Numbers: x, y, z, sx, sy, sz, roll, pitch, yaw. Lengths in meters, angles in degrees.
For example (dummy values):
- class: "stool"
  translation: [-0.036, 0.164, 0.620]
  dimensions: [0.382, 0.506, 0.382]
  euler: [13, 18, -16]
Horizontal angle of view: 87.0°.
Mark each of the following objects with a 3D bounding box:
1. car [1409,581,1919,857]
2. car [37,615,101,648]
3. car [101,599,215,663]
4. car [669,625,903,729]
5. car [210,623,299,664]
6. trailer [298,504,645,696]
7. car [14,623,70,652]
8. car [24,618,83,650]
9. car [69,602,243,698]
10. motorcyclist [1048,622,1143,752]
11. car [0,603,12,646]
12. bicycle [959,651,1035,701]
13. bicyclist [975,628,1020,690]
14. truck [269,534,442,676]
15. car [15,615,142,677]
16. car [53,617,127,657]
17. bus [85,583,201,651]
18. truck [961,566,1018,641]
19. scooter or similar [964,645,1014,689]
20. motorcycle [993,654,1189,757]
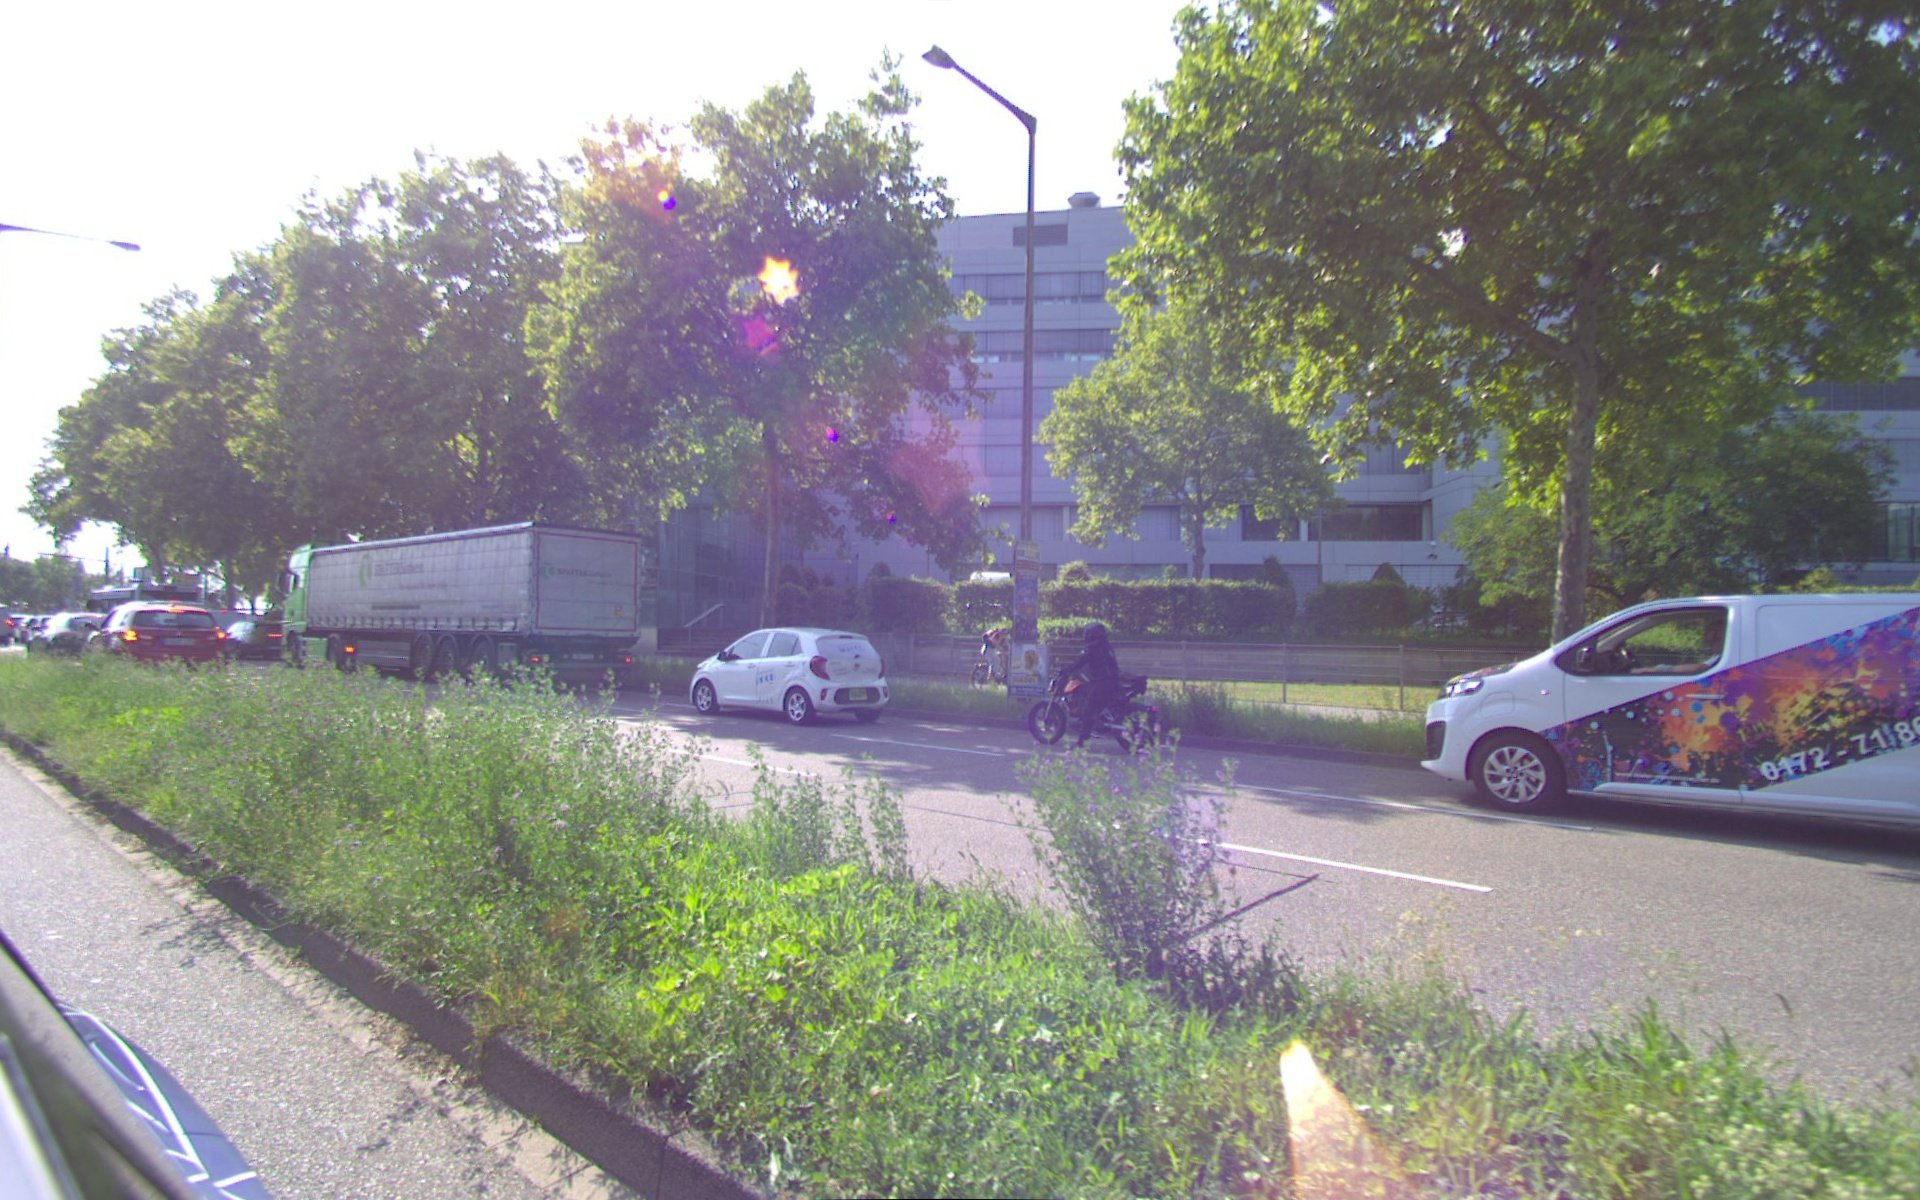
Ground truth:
- class: "car"
  translation: [6.541, 0.873, 8.204]
  dimensions: [4.967, 1.873, 1.963]
  euler: [-1, -4, 41]
- class: "car"
  translation: [-40.535, 1.424, 46.003]
  dimensions: [4.188, 1.444, 1.629]
  euler: [-1, -4, 42]
- class: "car"
  translation: [-26.509, 1.010, 33.385]
  dimensions: [5.033, 1.968, 1.973]
  euler: [-1, -3, 41]
- class: "car"
  translation: [-2.903, 1.175, 16.470]
  dimensions: [3.830, 1.490, 1.727]
  euler: [-1, -3, 42]
- class: "car"
  translation: [-26.272, 1.603, 37.646]
  dimensions: [4.478, 1.421, 1.630]
  euler: [-1, -4, 41]
- class: "trailer"
  translation: [-13.049, 0.147, 25.817]
  dimensions: [13.804, 3.851, 2.606]
  euler: [-1, -4, 41]
- class: "car"
  translation: [-48.880, 1.963, 53.879]
  dimensions: [3.998, 1.453, 1.688]
  euler: [-1, -4, 41]
- class: "car"
  translation: [-45.453, 1.710, 50.738]
  dimensions: [3.819, 1.478, 1.688]
  euler: [-2, -4, 41]
- class: "car"
  translation: [-16.358, 0.961, 20.509]
  dimensions: [4.584, 1.737, 1.933]
  euler: [-1, -3, 41]
- class: "motorcyclist"
  translation: [1.704, 1.059, 12.773]
  dimensions: [0.922, 1.566, 0.769]
  euler: [-1, -2, 42]
- class: "car"
  translation: [-45.151, 1.122, 46.394]
  dimensions: [4.887, 1.878, 1.891]
  euler: [-2, -4, 41]
- class: "bicycle"
  translation: [0.863, 1.798, 24.166]
  dimensions: [1.799, 1.116, 0.641]
  euler: [-1, -3, 40]
- class: "bicyclist"
  translation: [0.894, 1.394, 24.175]
  dimensions: [0.839, 1.450, 0.641]
  euler: [-1, -3, 40]
- class: "truck"
  translation: [-18.132, 0.234, 30.213]
  dimensions: [5.888, 3.849, 2.580]
  euler: [-1, -4, 41]
- class: "car"
  translation: [-23.267, 1.183, 26.663]
  dimensions: [4.582, 1.490, 1.729]
  euler: [-1, -4, 39]
- class: "car"
  translation: [-35.587, 1.512, 41.366]
  dimensions: [4.138, 1.540, 1.677]
  euler: [-1, -4, 41]
- class: "bus"
  translation: [-41.494, 0.870, 51.163]
  dimensions: [12.307, 3.103, 2.563]
  euler: [-1, -1, 42]
- class: "truck"
  translation: [1.273, 0.200, 41.912]
  dimensions: [2.210, 2.883, 5.899]
  euler: [0, -1, 3]
- class: "scooter or similar"
  translation: [0.790, 1.816, 27.653]
  dimensions: [1.381, 1.136, 0.503]
  euler: [-1, -2, 42]
- class: "motorcycle"
  translation: [1.610, 1.284, 12.852]
  dimensions: [2.467, 1.115, 0.786]
  euler: [-1, -1, 42]
